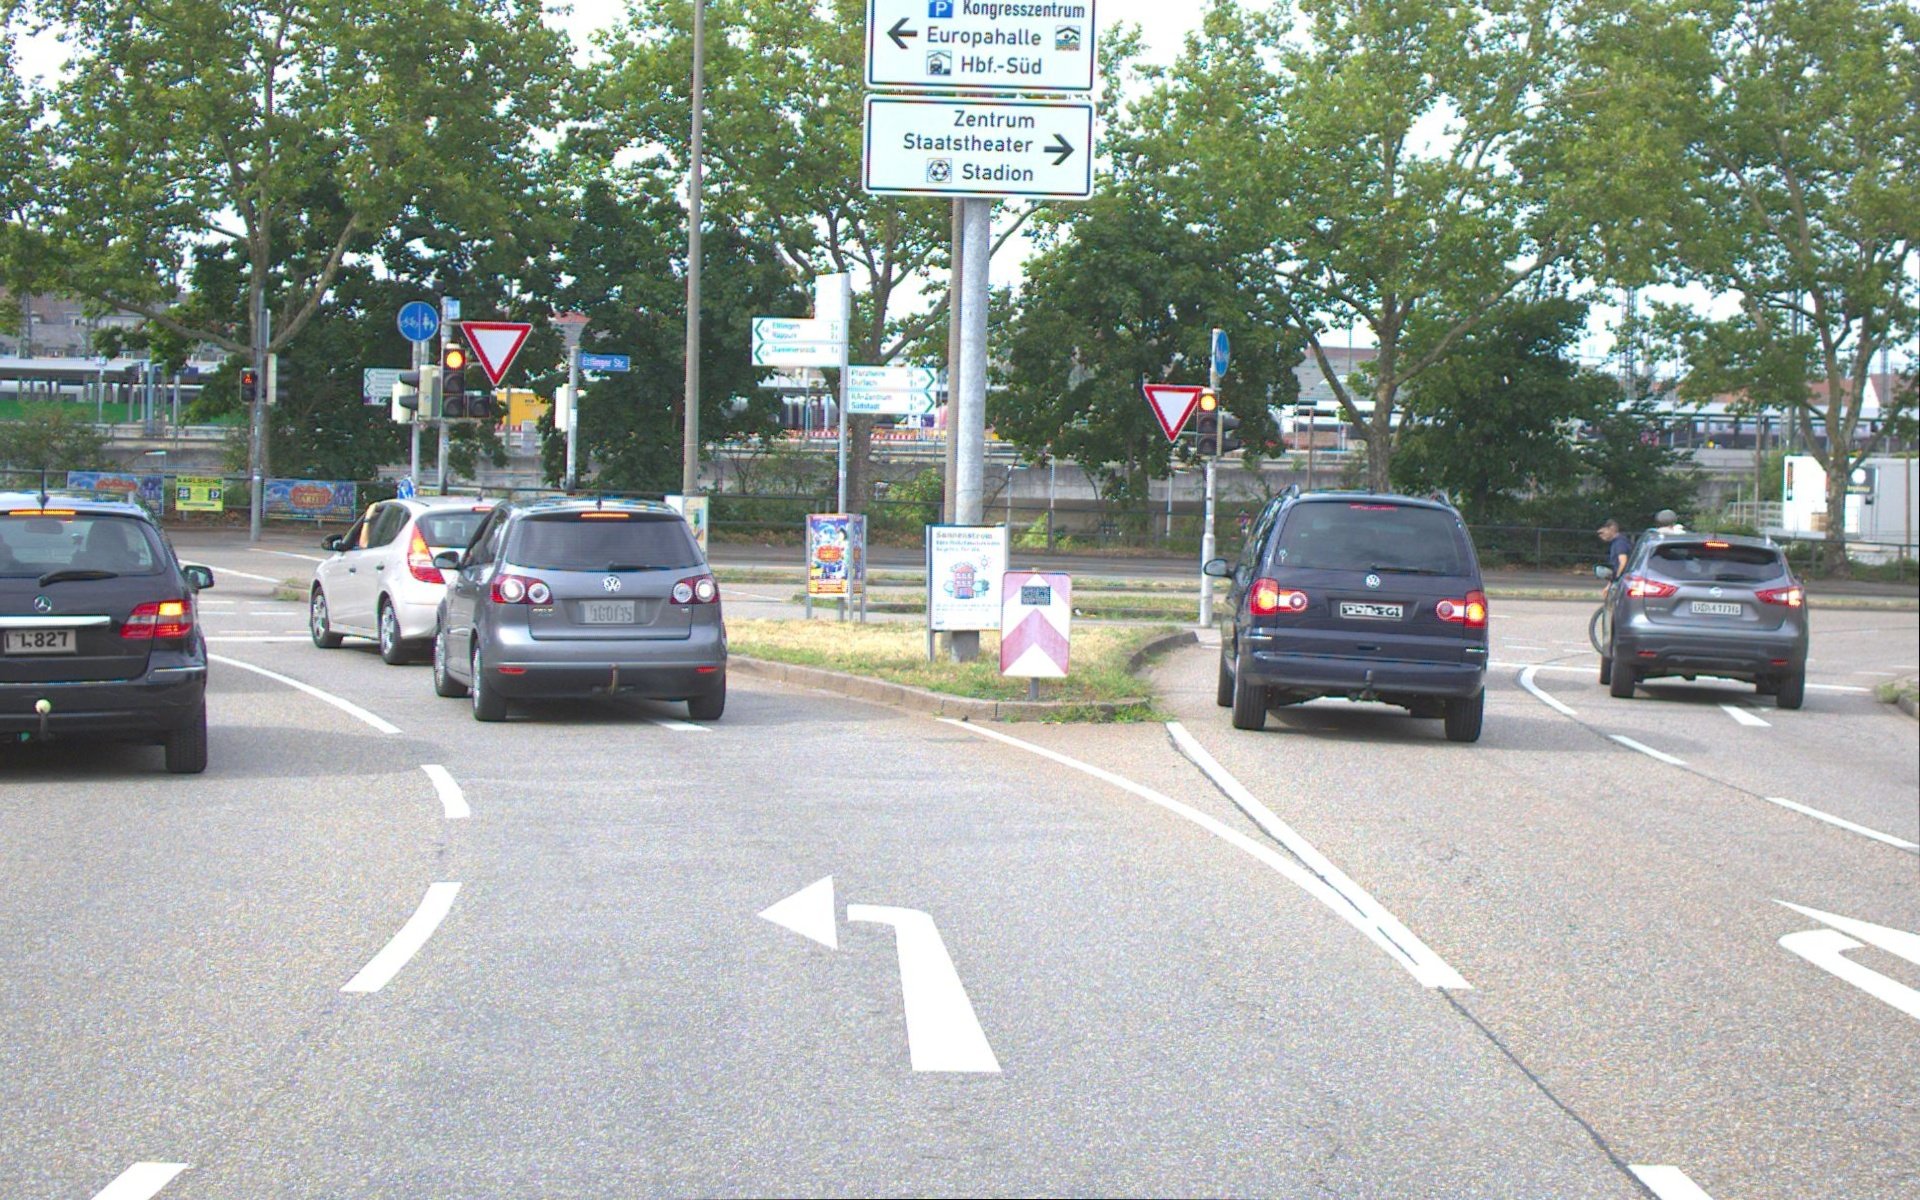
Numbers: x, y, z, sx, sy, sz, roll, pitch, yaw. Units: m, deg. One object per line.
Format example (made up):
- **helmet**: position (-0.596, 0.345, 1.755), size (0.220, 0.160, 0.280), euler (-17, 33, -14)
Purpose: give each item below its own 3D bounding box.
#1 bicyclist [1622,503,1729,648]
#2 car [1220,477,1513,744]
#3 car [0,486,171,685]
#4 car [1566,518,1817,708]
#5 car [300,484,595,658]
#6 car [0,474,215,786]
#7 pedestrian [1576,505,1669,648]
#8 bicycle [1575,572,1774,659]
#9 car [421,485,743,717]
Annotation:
- **bicyclist**: position (8.580, -0.310, 41.215), size (1.113, 1.690, 0.812), euler (2, 2, 20)
- **car**: position (2.912, 0.026, 25.406), size (1.750, 1.719, 4.138), euler (3, 1, 2)
- **car**: position (-7.681, -0.188, 27.662), size (1.818, 1.409, 4.778), euler (1, 2, -22)
- **car**: position (7.046, 0.074, 33.471), size (1.750, 1.637, 4.137), euler (3, 1, 4)
- **car**: position (-4.789, -0.305, 31.663), size (1.740, 1.477, 4.083), euler (0, 2, -22)
- **car**: position (-5.405, 0.090, 20.279), size (1.756, 1.569, 4.038), euler (1, 3, -15)
- **pedestrian**: position (8.237, -0.301, 42.764), size (1.047, 1.704, 0.853), euler (3, 2, 11)
- **bicycle**: position (8.569, 0.173, 41.233), size (2.230, 0.949, 0.811), euler (2, 2, 20)
- **car**: position (-2.851, -0.048, 25.186), size (1.740, 1.541, 4.083), euler (1, 2, -15)
